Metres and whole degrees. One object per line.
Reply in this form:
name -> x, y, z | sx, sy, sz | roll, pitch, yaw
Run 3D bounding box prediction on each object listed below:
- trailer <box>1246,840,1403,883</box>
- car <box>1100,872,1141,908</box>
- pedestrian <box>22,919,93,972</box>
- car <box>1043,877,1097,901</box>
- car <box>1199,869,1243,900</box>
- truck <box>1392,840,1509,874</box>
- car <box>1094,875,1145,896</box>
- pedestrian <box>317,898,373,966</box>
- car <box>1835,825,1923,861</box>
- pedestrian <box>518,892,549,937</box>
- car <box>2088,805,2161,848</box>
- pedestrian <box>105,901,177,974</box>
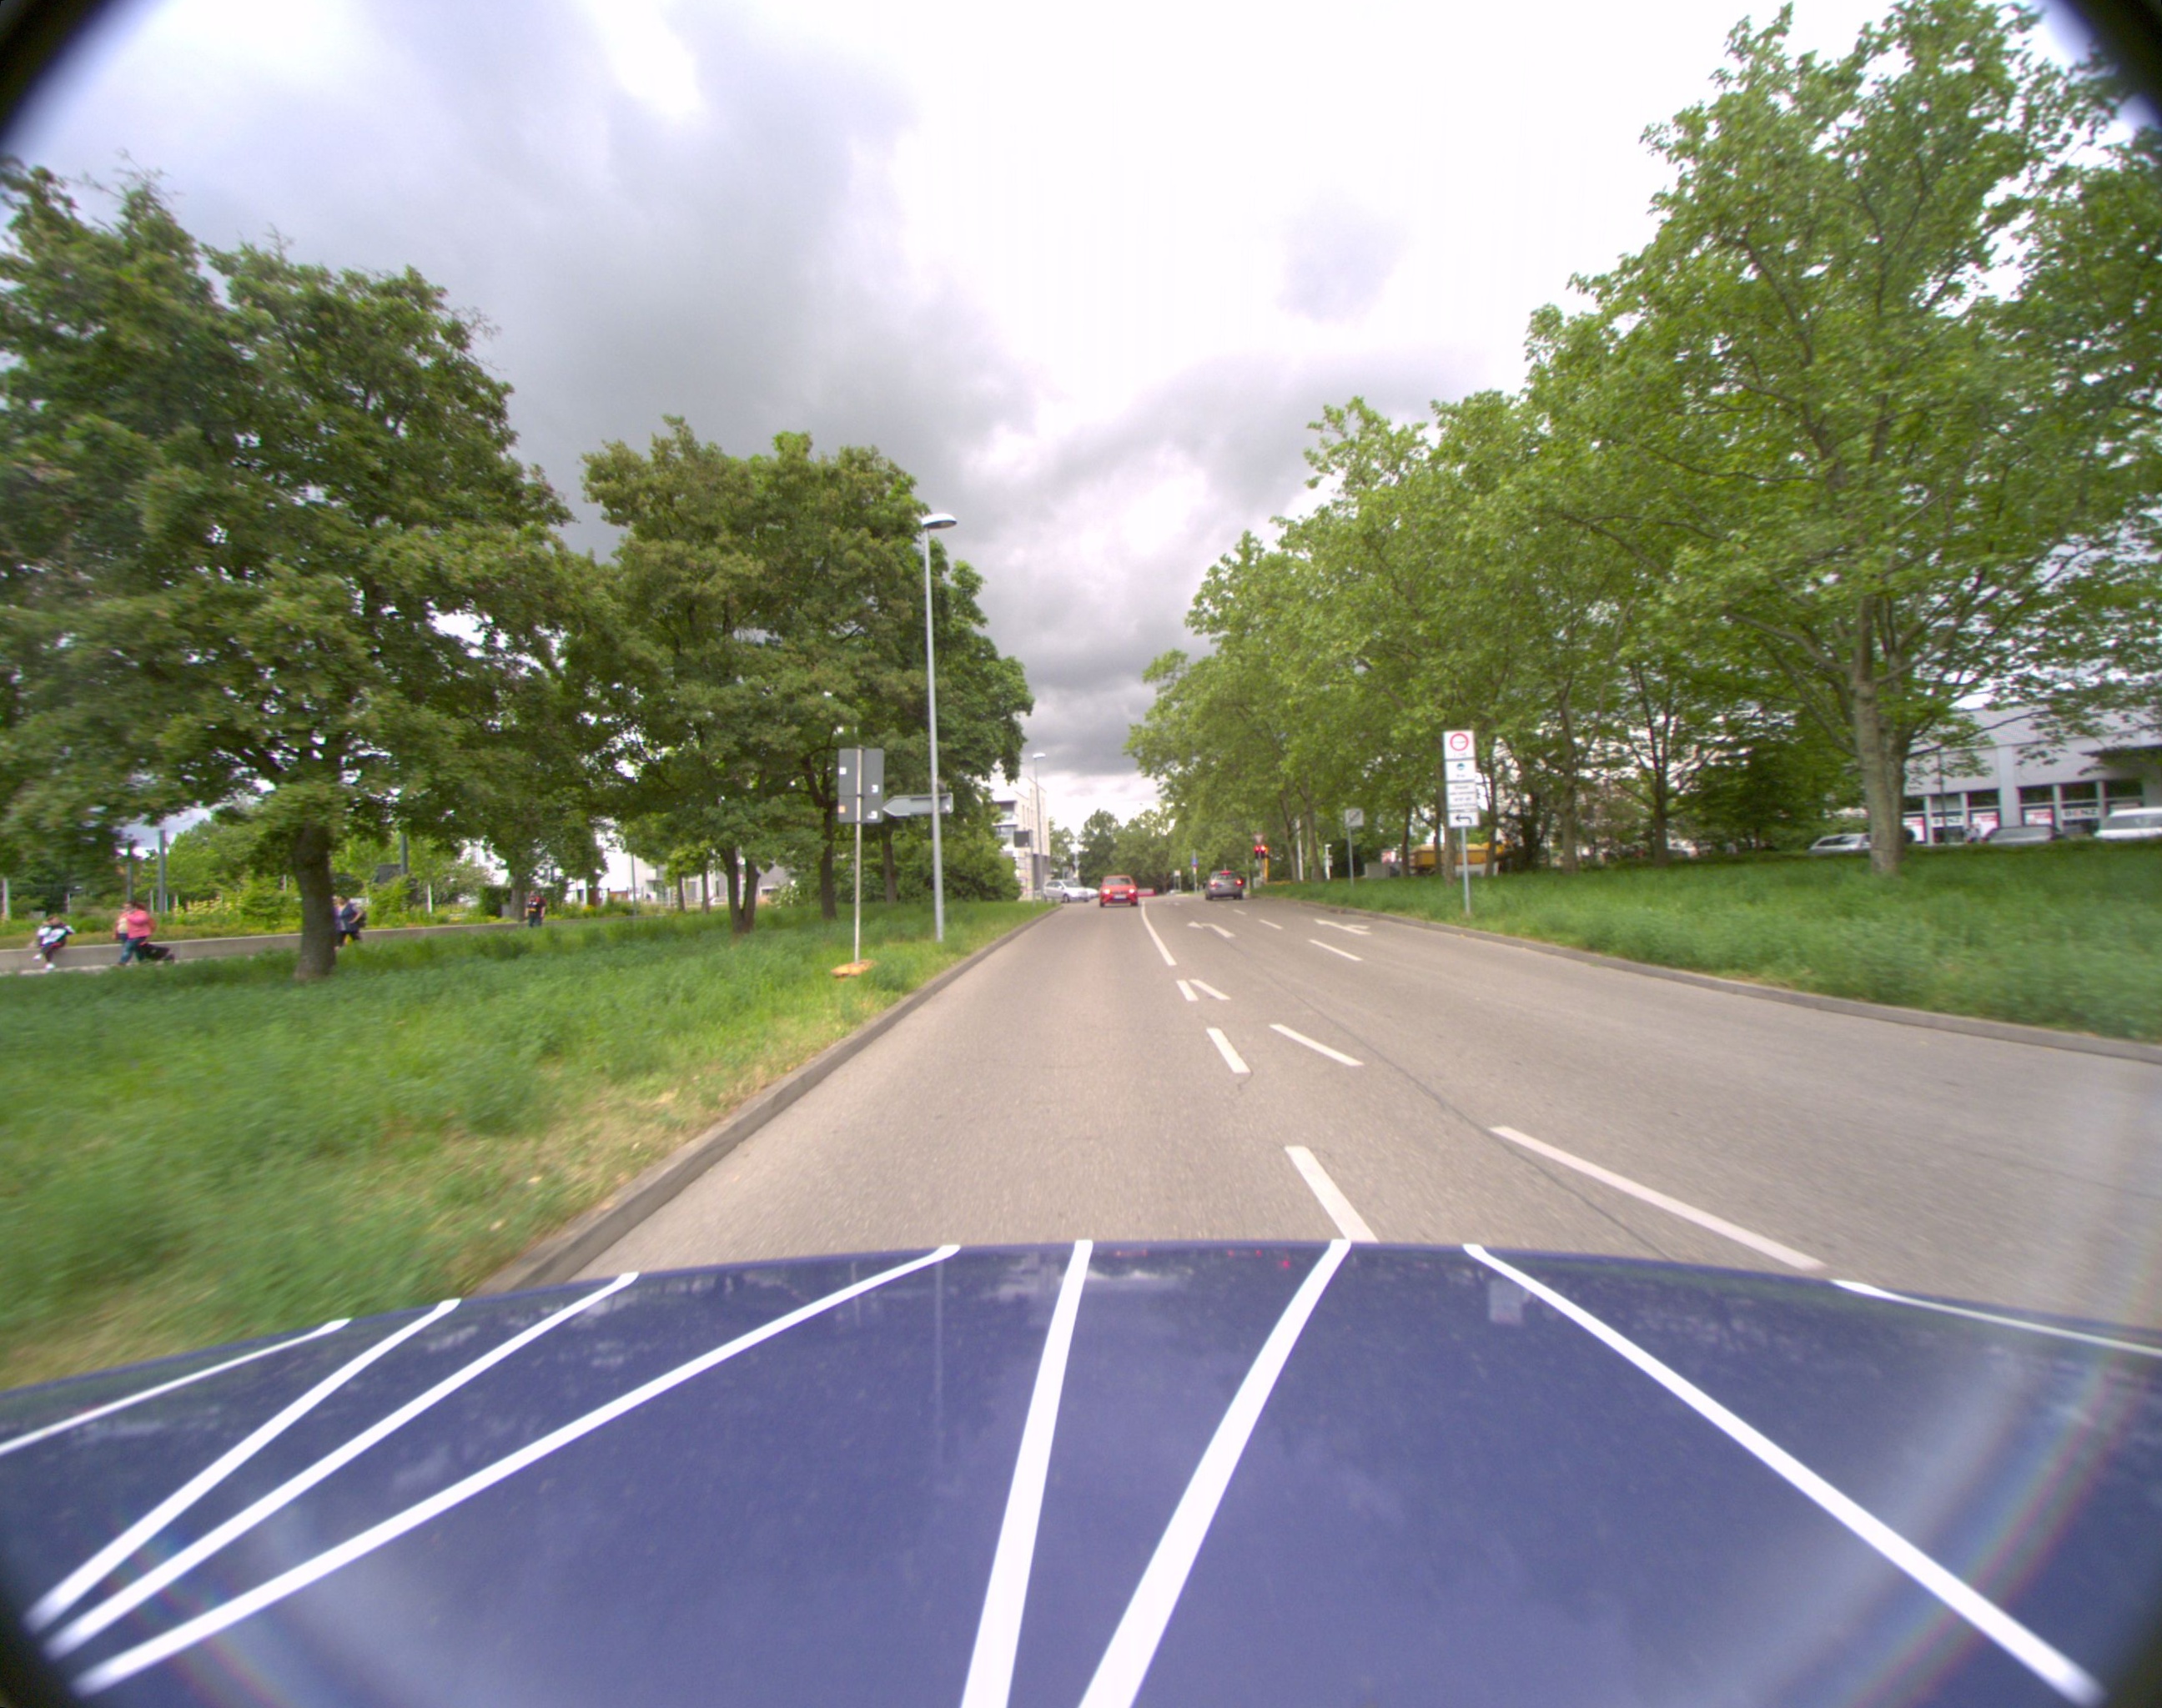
trailer -> 18.290, 0.567, 57.644 | 11.075, 2.789, 2.083 | -2, 1, 6
car -> 1.813, 1.644, 35.563 | 1.758, 1.506, 4.002 | -2, -2, 2
pedestrian -> -23.927, 2.134, 17.770 | 0.676, 1.135, 0.667 | -2, 1, -8
car -> -0.789, 2.366, 52.031 | 1.830, 1.477, 3.991 | -3, 0, -32
car -> 7.660, 1.644, 41.857 | 1.758, 1.506, 4.000 | -2, 0, 2
truck -> 27.410, 0.224, 56.572 | 7.515, 2.200, 2.083 | -2, 1, 6
car -> 3.062, 2.470, 60.295 | 3.917, 1.424, 1.610 | -2, 1, 6
pedestrian -> -18.509, 1.949, 19.128 | 0.675, 1.597, 0.667 | -2, 1, 2
car -> 35.557, -0.496, 33.838 | 4.005, 1.455, 1.651 | -2, 1, -28
pedestrian -> -18.232, 2.008, 25.318 | 0.676, 1.406, 0.666 | -3, 1, -24
car -> 39.333, -1.046, 28.270 | 4.005, 1.455, 1.651 | -2, 1, -28
pedestrian -> -20.737, 1.820, 16.776 | 0.676, 1.498, 0.667 | -2, 1, -8
